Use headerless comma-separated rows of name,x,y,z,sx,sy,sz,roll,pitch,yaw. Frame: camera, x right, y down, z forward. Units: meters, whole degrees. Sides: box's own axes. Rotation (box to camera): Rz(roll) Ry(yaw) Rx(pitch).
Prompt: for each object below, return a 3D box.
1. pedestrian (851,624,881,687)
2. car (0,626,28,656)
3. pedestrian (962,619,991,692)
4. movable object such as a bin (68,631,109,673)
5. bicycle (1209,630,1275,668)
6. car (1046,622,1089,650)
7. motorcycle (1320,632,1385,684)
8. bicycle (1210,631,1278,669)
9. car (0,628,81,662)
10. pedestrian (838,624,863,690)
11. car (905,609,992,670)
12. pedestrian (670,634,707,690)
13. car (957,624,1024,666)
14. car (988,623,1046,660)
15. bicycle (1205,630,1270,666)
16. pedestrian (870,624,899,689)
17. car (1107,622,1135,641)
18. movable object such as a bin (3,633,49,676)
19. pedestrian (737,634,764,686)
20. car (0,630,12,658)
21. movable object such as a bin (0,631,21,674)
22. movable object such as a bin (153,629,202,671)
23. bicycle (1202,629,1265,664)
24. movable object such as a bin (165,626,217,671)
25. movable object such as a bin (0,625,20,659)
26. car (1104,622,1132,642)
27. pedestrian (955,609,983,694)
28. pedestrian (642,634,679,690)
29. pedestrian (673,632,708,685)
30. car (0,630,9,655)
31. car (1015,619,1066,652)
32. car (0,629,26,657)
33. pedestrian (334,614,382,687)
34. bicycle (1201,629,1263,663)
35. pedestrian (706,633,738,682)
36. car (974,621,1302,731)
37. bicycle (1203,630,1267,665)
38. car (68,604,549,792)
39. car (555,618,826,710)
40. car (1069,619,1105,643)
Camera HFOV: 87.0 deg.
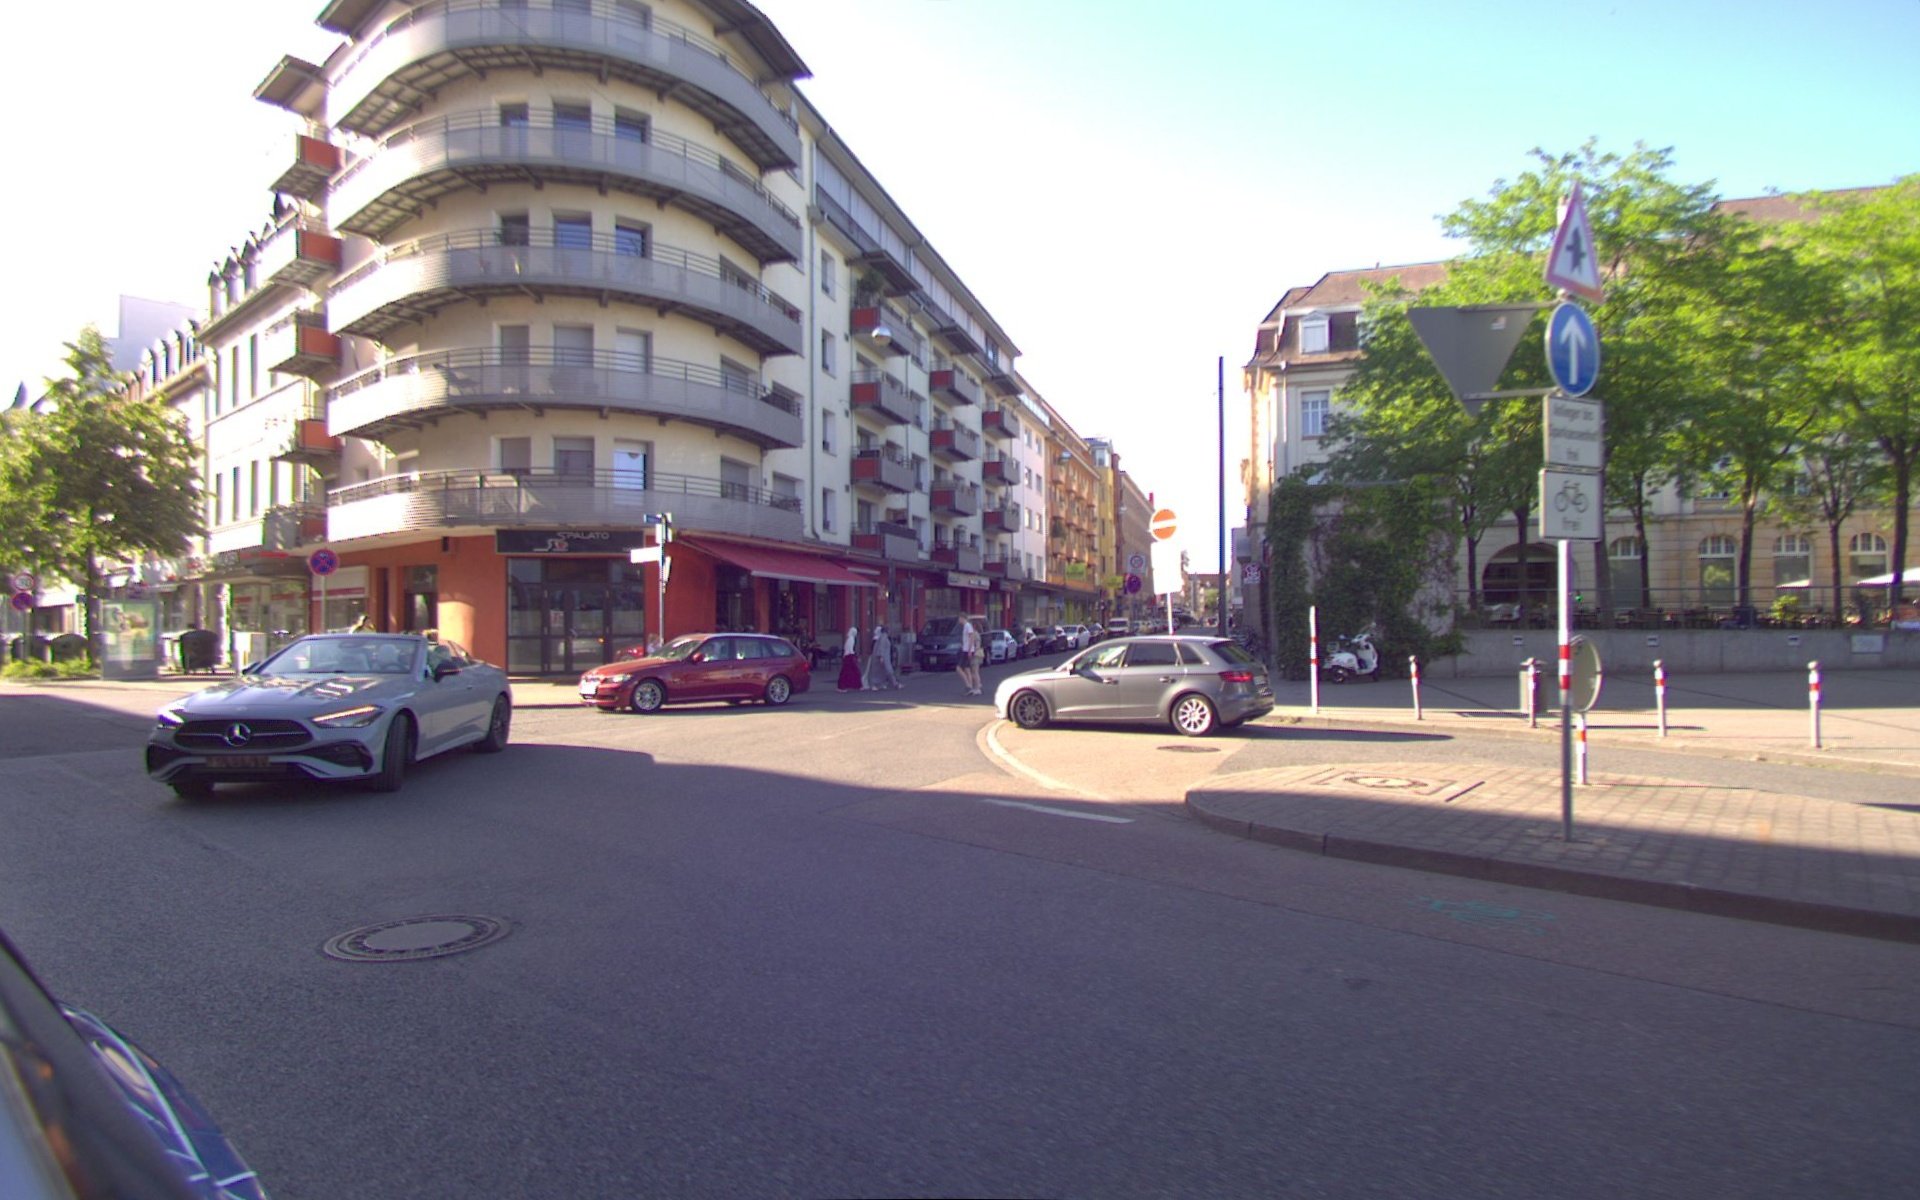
pedestrian,-2.336,1.375,25.233,0.690,1.547,0.575,0,-2,-1
car,-49.643,2.120,51.018,1.738,1.479,3.710,-2,-1,40
pedestrian,0.377,1.244,22.956,0.576,1.625,0.615,-1,-2,7
movable object such as a bin,-31.968,1.885,37.115,1.142,1.483,0.954,-2,-2,39
bicycle,8.769,1.521,31.510,1.945,1.140,0.504,-1,-2,12
car,6.340,2.112,59.330,1.893,1.585,4.160,0,-3,16
motorcycle,9.511,1.394,24.512,1.665,1.217,0.507,1,-2,-29
bicycle,8.666,1.516,30.964,1.945,1.140,0.504,-1,-2,12
car,-43.499,2.080,46.797,1.739,1.479,4.158,-2,-1,42
pedestrian,-2.605,1.345,24.177,0.545,1.547,0.542,0,-2,-1
car,-0.341,1.449,36.991,2.017,2.065,4.328,0,-3,16
pedestrian,-6.610,1.502,24.624,0.693,1.350,0.573,-1,-2,12
car,1.340,1.886,42.691,1.893,1.673,4.160,0,-3,16
car,2.725,1.944,47.811,1.893,1.673,4.160,0,-3,16
bicycle,8.820,1.529,32.198,1.945,1.140,0.504,-1,-2,12
pedestrian,-1.829,1.365,24.636,0.677,1.547,0.542,0,-2,-1
car,13.707,2.709,85.992,1.893,1.585,4.160,0,-3,16
movable object such as a bin,-32.992,1.920,35.761,1.142,1.483,1.032,-2,-2,39
pedestrian,-5.635,1.600,27.157,0.688,1.350,0.576,0,-2,-13
car,-53.528,2.394,54.215,1.770,1.497,3.878,-2,-1,41
movable object such as a bin,-33.532,1.836,35.254,1.142,1.483,1.032,-2,-2,39
movable object such as a bin,-26.020,1.643,33.653,1.313,1.355,1.032,-2,-2,39
bicycle,9.025,1.543,33.422,1.945,1.140,0.504,-1,-2,12
movable object such as a bin,-24.863,1.567,32.722,1.313,1.415,1.032,-2,-2,39
movable object such as a bin,-38.182,1.691,40.573,0.804,1.351,0.628,-2,-2,39
car,13.377,2.729,85.692,1.893,1.585,4.160,0,-3,16
pedestrian,0.199,1.131,22.317,0.552,1.841,0.586,-1,-2,7
pedestrian,-7.319,1.505,24.779,0.693,1.350,0.573,-1,-2,12
pedestrian,-6.951,1.500,26.132,0.693,1.350,0.573,-1,-2,12
car,-58.305,2.560,58.633,1.787,1.470,4.450,-2,0,38
car,4.279,1.896,53.367,1.893,1.673,4.160,0,-3,16
car,-51.564,2.306,52.964,1.789,1.439,3.800,-2,-1,41
pedestrian,-14.153,1.174,23.782,1.036,1.672,0.658,-2,-2,40
bicycle,9.134,1.555,34.037,1.945,1.140,0.504,-1,-2,12
pedestrian,-6.555,1.579,27.919,0.693,1.350,0.573,-1,-2,12
car,2.586,1.111,15.191,4.524,1.434,1.734,-3,-3,33
bicycle,8.910,1.536,32.814,1.945,1.140,0.504,-1,-2,12
car,-6.050,0.863,10.374,1.969,1.434,5.123,1,-2,-5
car,-4.953,1.163,19.171,1.921,1.527,4.669,-2,-3,42
car,8.703,2.110,69.083,1.893,1.585,4.160,0,-3,16
